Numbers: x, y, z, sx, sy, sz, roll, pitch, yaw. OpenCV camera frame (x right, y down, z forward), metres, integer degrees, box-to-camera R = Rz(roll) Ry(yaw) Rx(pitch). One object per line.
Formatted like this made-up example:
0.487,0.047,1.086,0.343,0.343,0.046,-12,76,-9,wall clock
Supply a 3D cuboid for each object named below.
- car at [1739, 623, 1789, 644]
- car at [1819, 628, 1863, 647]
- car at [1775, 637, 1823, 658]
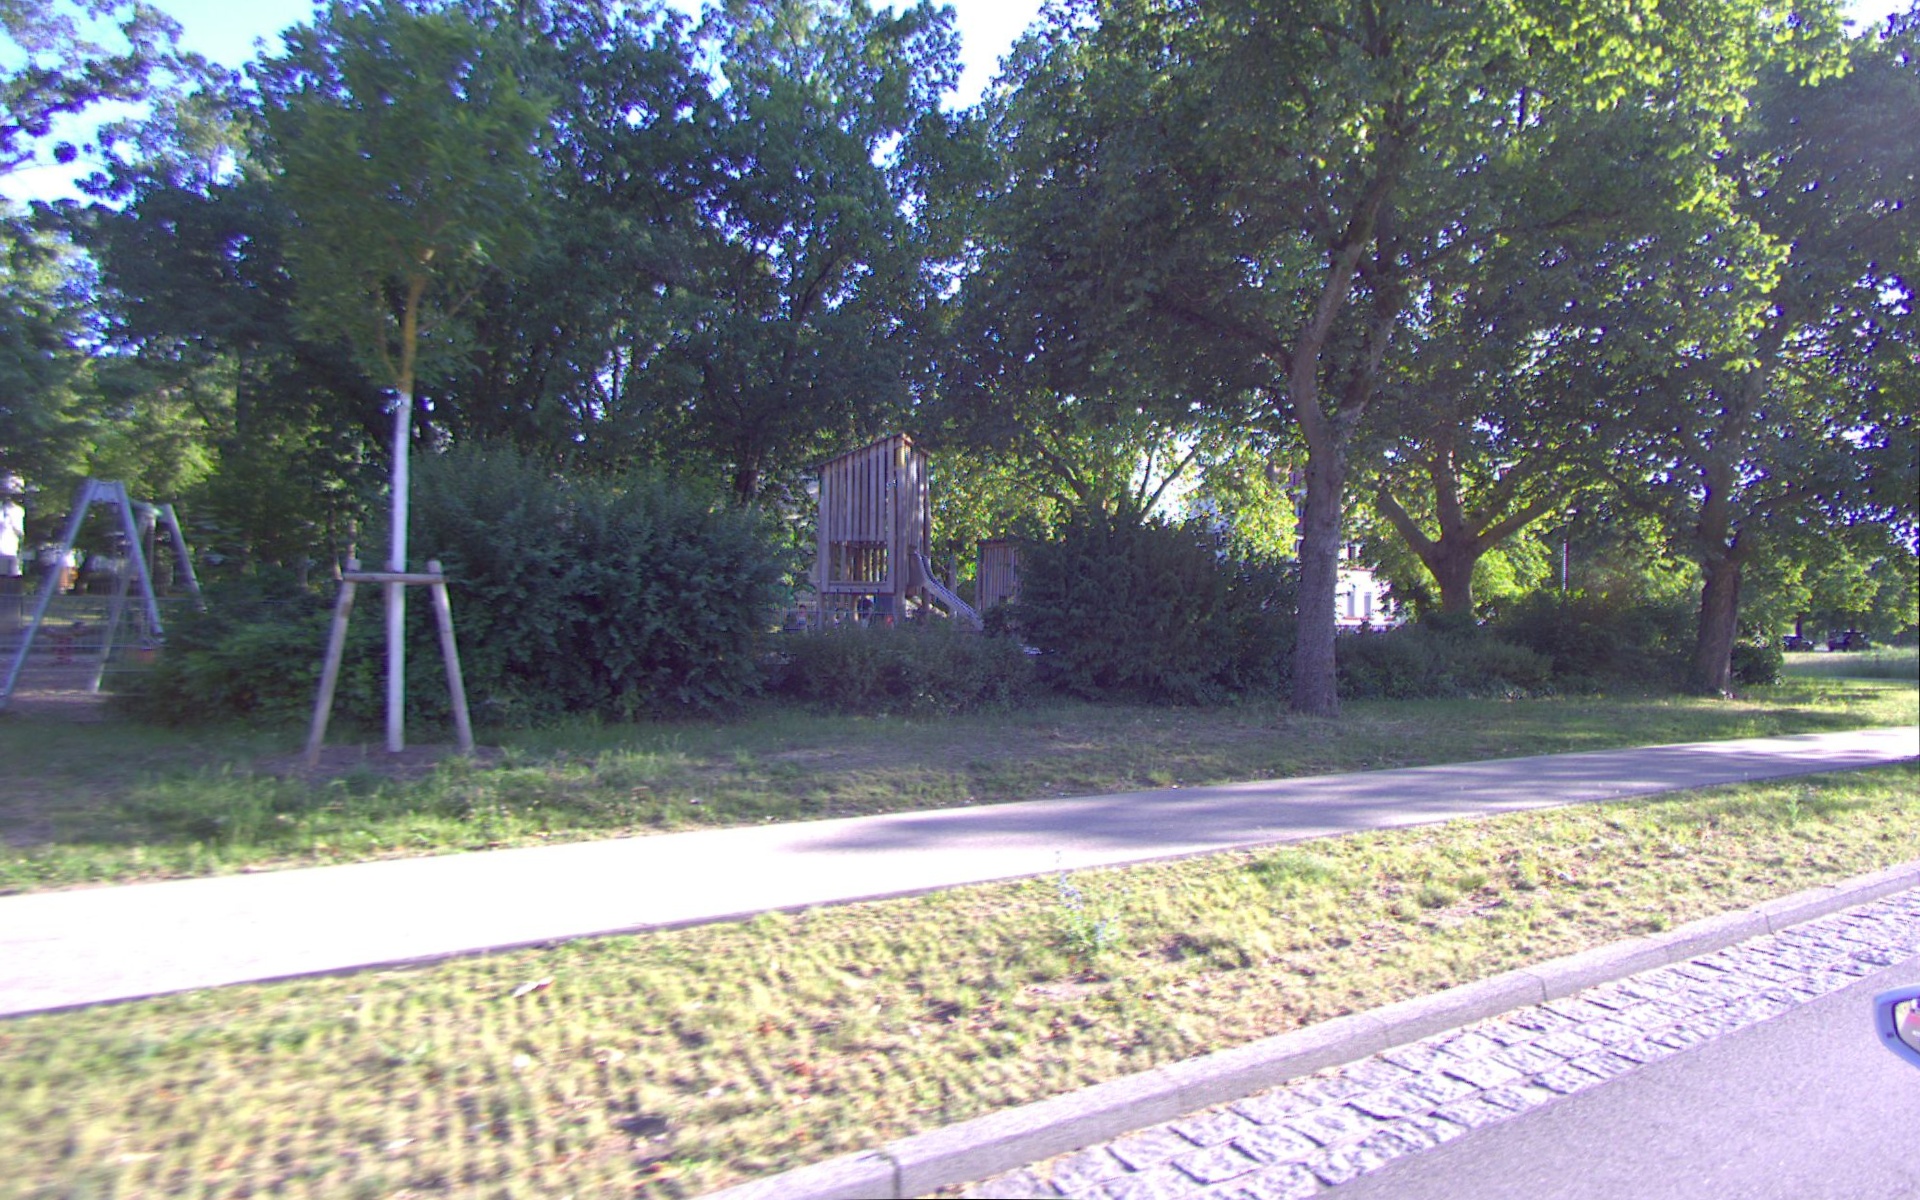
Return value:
62.742,2.623,78.339,4.172,1.619,1.684,2,-1,-31,car
76.260,3.264,86.931,4.172,1.619,1.684,2,-1,-31,car
68.118,3.882,81.538,4.172,1.619,1.684,2,-1,-31,car
